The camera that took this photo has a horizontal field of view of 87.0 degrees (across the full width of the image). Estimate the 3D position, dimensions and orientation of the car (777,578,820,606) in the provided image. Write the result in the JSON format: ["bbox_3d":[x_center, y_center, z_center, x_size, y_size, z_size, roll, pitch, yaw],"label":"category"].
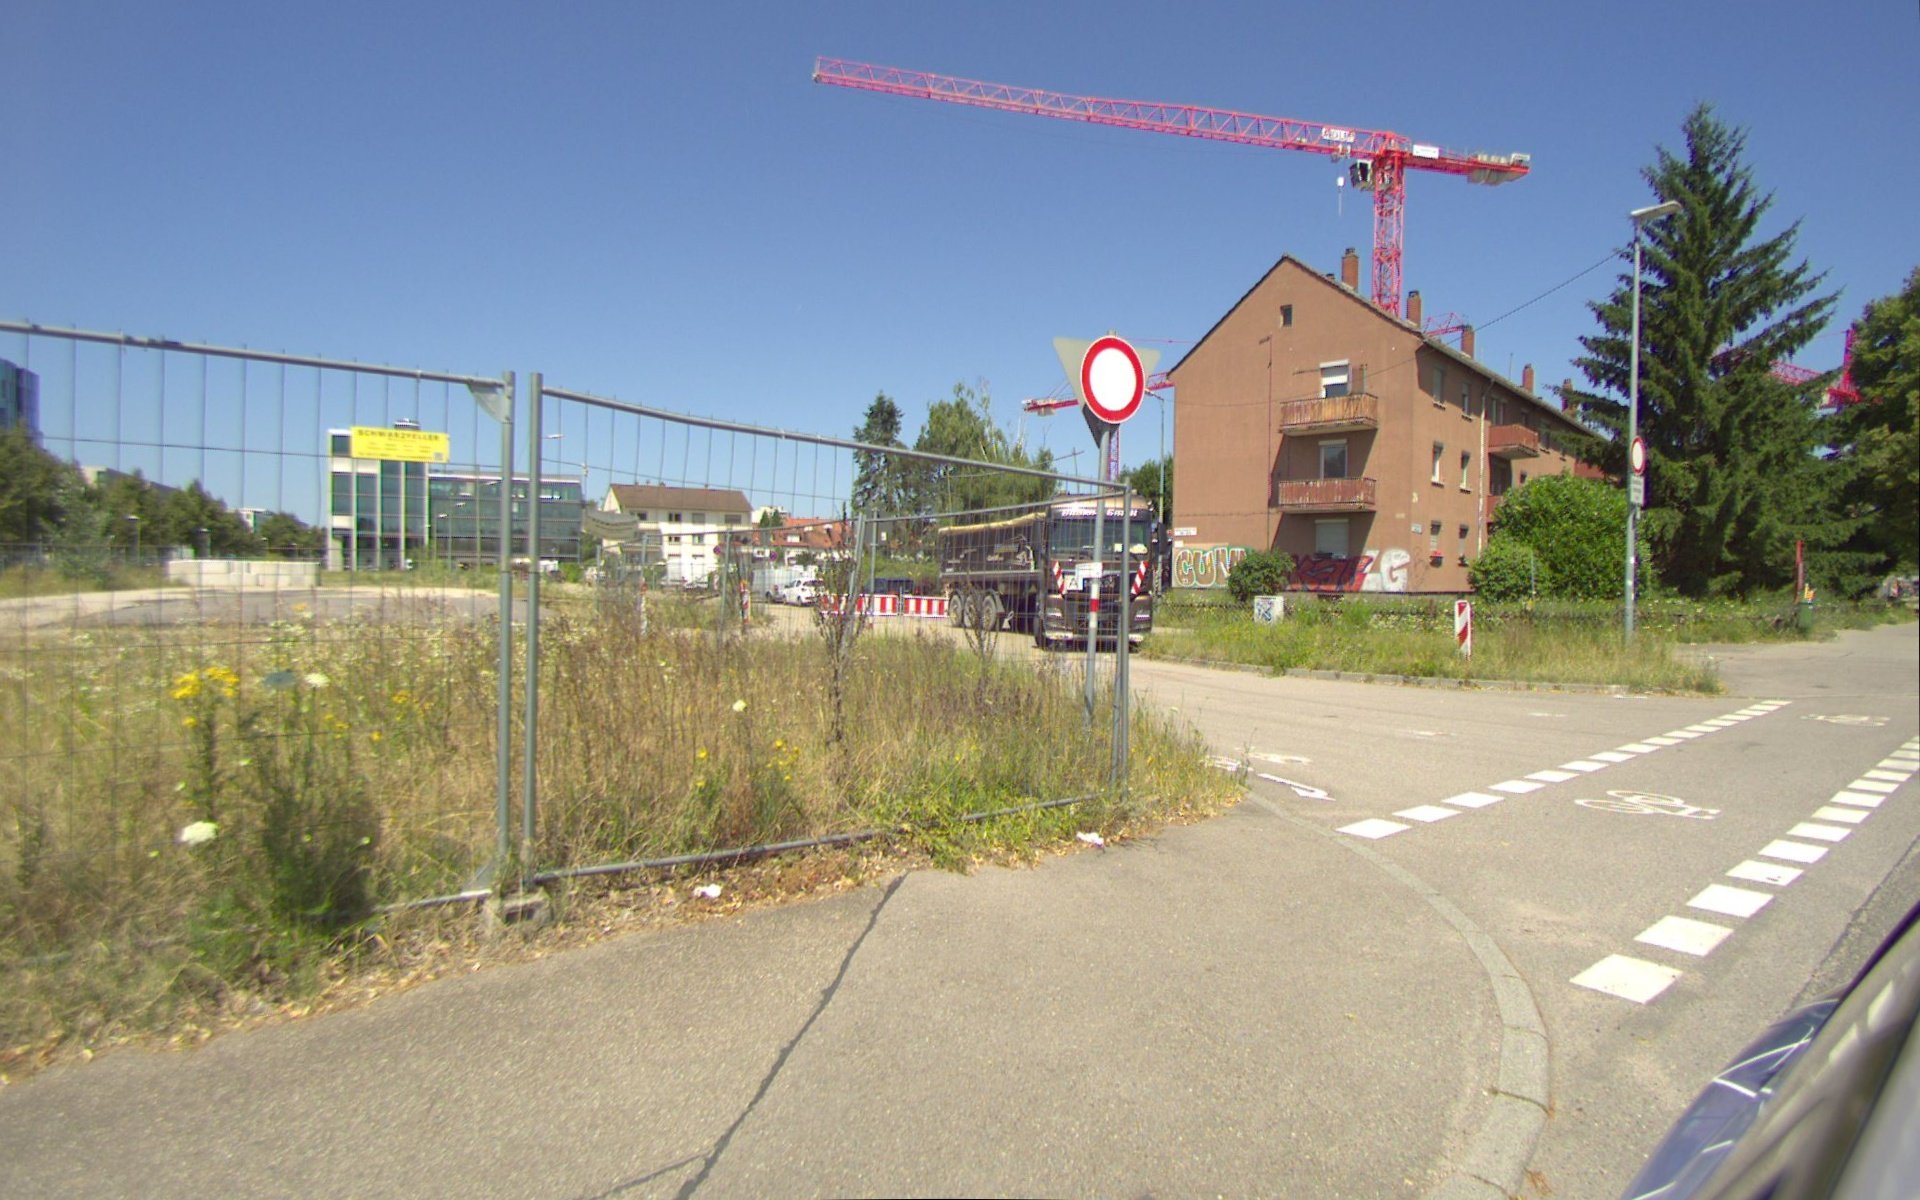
[{"bbox_3d":[-8.505,-0.440,53.199,1.390,1.423,2.795,0,1,-28],"label":"car"}]

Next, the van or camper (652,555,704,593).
[{"bbox_3d":[-20.576,-1.935,73.623,1.891,2.634,7.011,0,1,-30],"label":"van or camper"}]

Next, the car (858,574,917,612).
[{"bbox_3d":[-3.246,-0.335,44.900,1.342,1.633,3.424,0,1,-28],"label":"car"}]

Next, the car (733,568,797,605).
[{"bbox_3d":[-11.169,-0.797,57.789,1.751,2.039,4.682,0,2,-36],"label":"car"}]

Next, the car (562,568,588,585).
[{"bbox_3d":[-38.060,-2.320,100.019,1.648,1.606,3.623,-1,1,-34],"label":"car"}]

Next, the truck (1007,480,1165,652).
[{"bbox_3d":[2.752,-0.776,23.702,3.105,3.576,4.964,1,1,1],"label":"truck"}]

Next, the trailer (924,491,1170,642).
[{"bbox_3d":[2.026,-0.914,28.678,3.098,3.576,9.012,0,1,-22],"label":"trailer"}]

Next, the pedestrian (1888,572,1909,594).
[{"bbox_3d":[67.294,-1.240,72.562,0.670,1.536,1.023,0,1,-40],"label":"pedestrian"}]
